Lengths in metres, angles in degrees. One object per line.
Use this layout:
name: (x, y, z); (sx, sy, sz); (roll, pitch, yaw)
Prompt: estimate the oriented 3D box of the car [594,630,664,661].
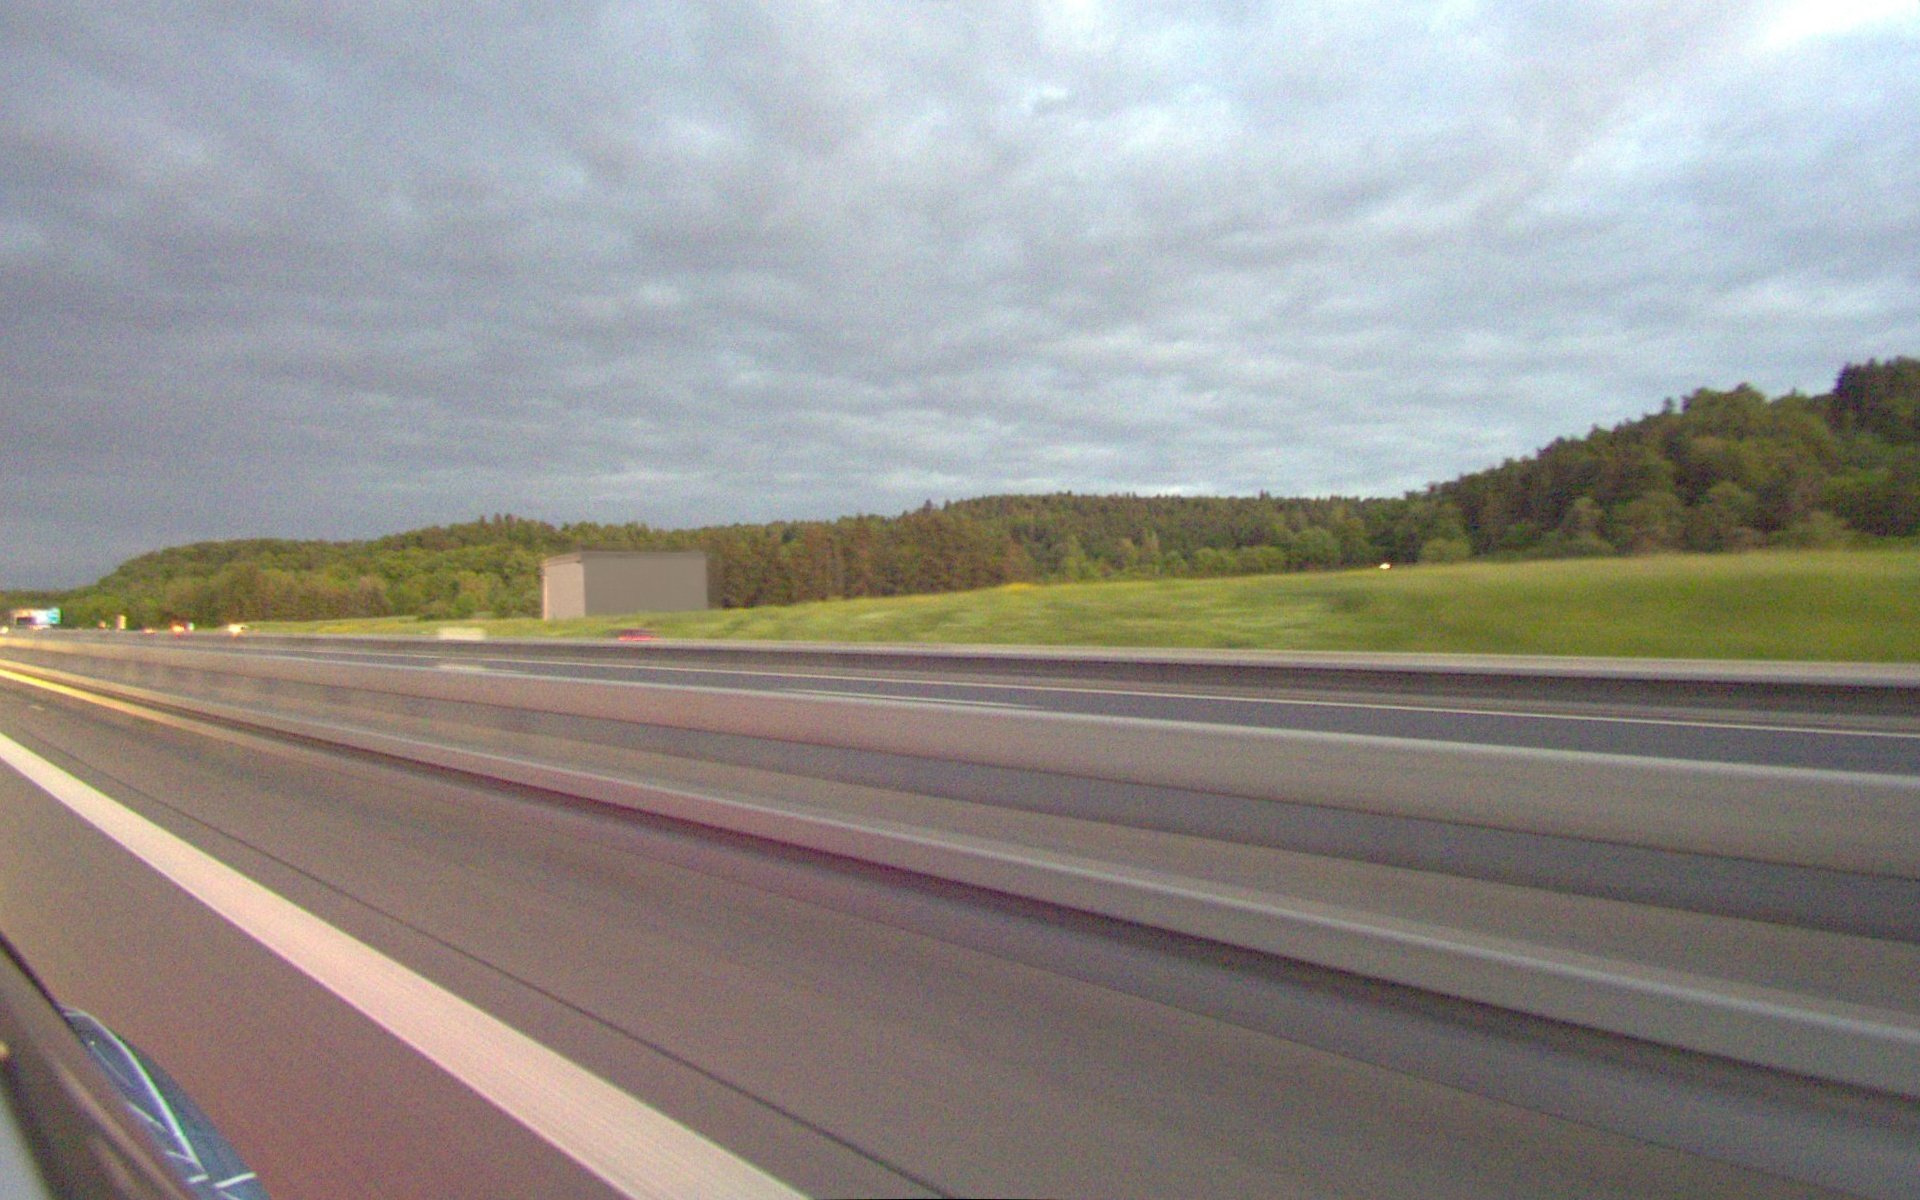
car: (-16.652, 2.252, 50.895); (3.808, 1.505, 1.651); (-1, -2, 41)
